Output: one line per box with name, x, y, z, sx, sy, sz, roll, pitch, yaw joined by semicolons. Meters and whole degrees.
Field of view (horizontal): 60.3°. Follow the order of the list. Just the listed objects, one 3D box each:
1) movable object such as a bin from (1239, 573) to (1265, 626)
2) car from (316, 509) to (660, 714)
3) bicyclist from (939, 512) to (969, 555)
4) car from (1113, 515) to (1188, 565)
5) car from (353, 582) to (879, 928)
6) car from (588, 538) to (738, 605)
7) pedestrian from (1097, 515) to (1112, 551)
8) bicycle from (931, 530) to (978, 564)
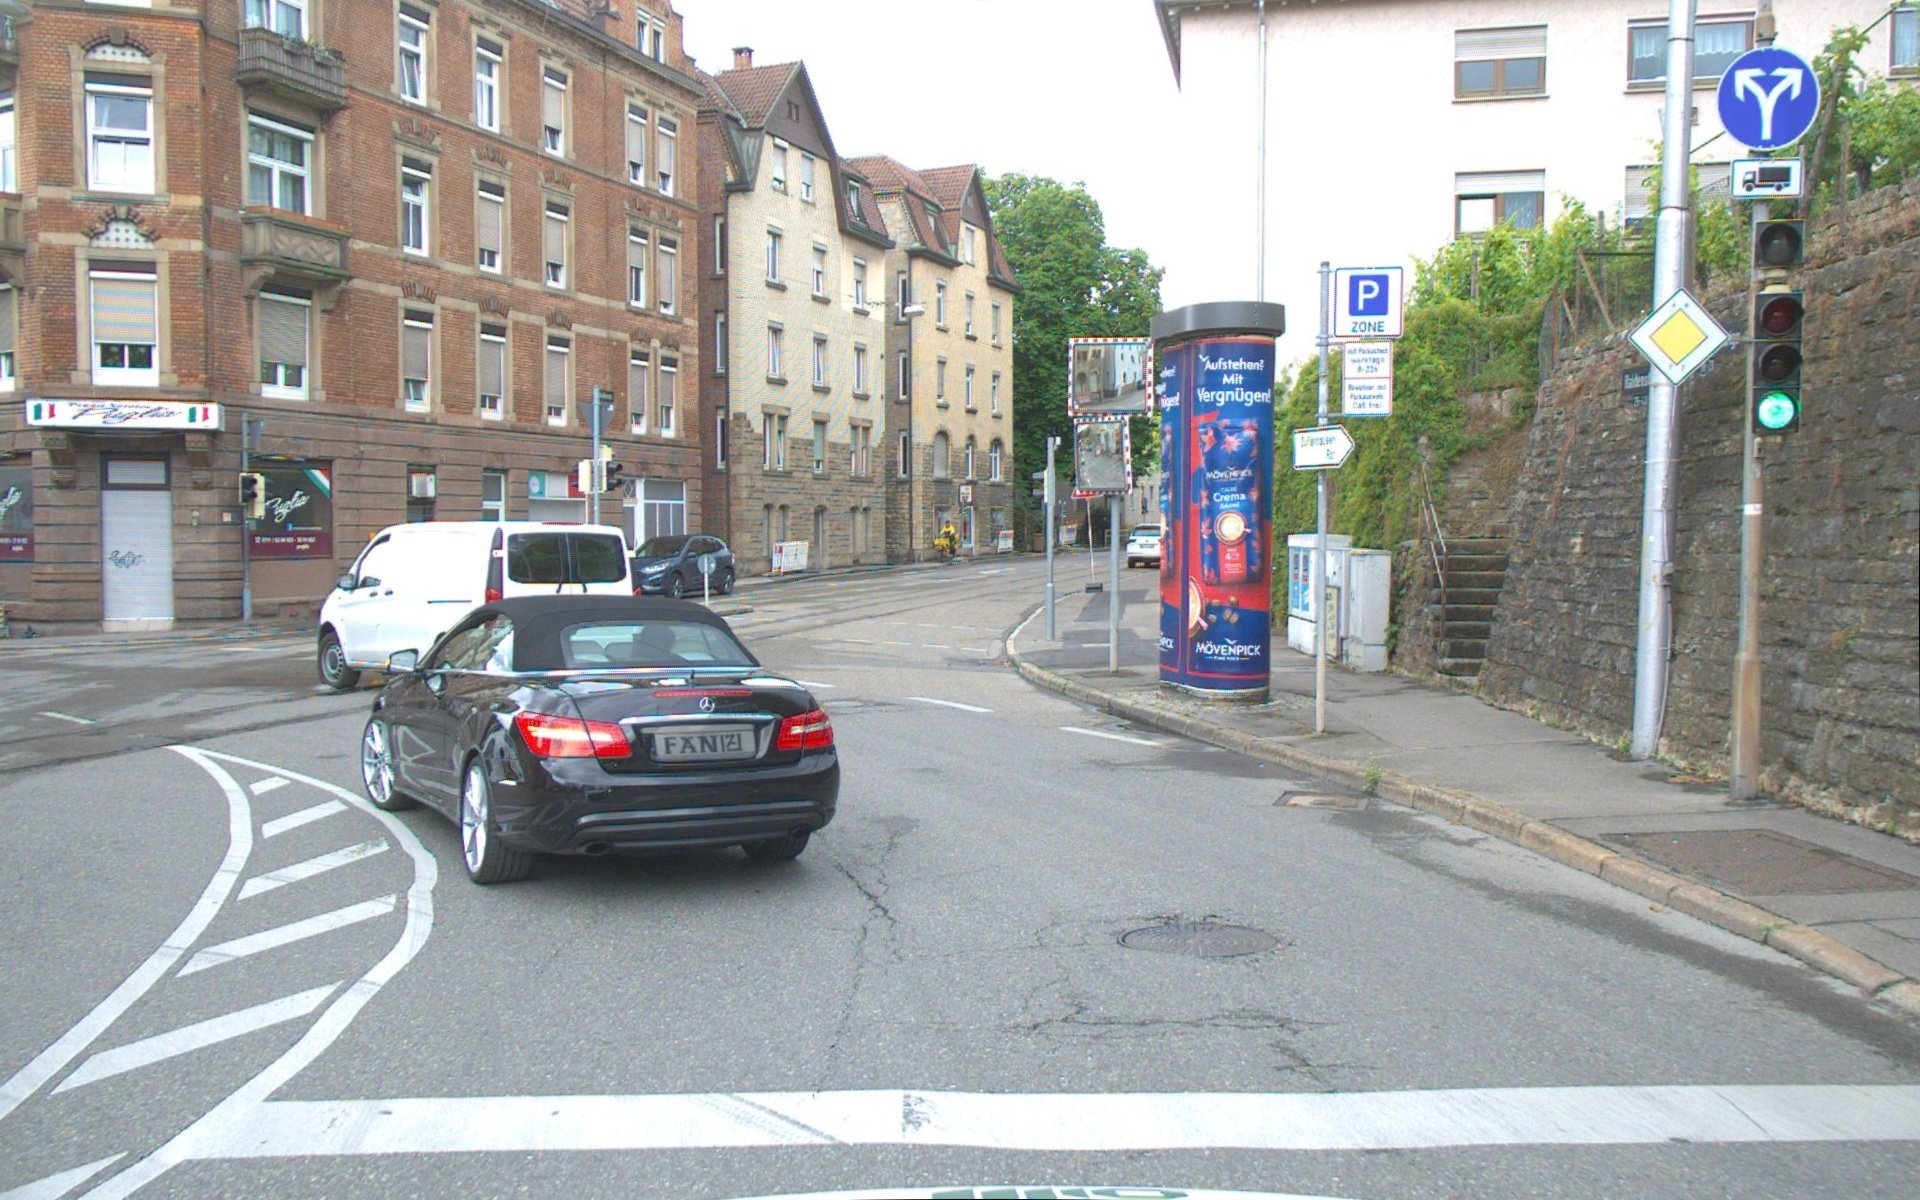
movable object such as a bin;5.123;-0.004;29.038;0.337;0.927;0.494;0;0;-4
car;-5.390;0.125;18.491;1.881;1.962;4.575;-4;2;-41
bicyclist;-0.258;-2.829;70.513;0.927;1.732;0.783;-3;2;34
car;7.276;-2.298;62.792;1.909;1.748;4.002;-2;1;20
car;-2.229;0.689;9.597;1.743;1.433;4.356;-3;1;-29
car;-7.761;-0.789;43.660;1.952;1.541;4.288;-2;3;20
pedestrian;8.254;-3.817;94.422;0.748;2.048;0.754;-3;1;9
bicycle;-0.215;-2.259;70.555;0.620;1.329;2.593;-3;2;33
